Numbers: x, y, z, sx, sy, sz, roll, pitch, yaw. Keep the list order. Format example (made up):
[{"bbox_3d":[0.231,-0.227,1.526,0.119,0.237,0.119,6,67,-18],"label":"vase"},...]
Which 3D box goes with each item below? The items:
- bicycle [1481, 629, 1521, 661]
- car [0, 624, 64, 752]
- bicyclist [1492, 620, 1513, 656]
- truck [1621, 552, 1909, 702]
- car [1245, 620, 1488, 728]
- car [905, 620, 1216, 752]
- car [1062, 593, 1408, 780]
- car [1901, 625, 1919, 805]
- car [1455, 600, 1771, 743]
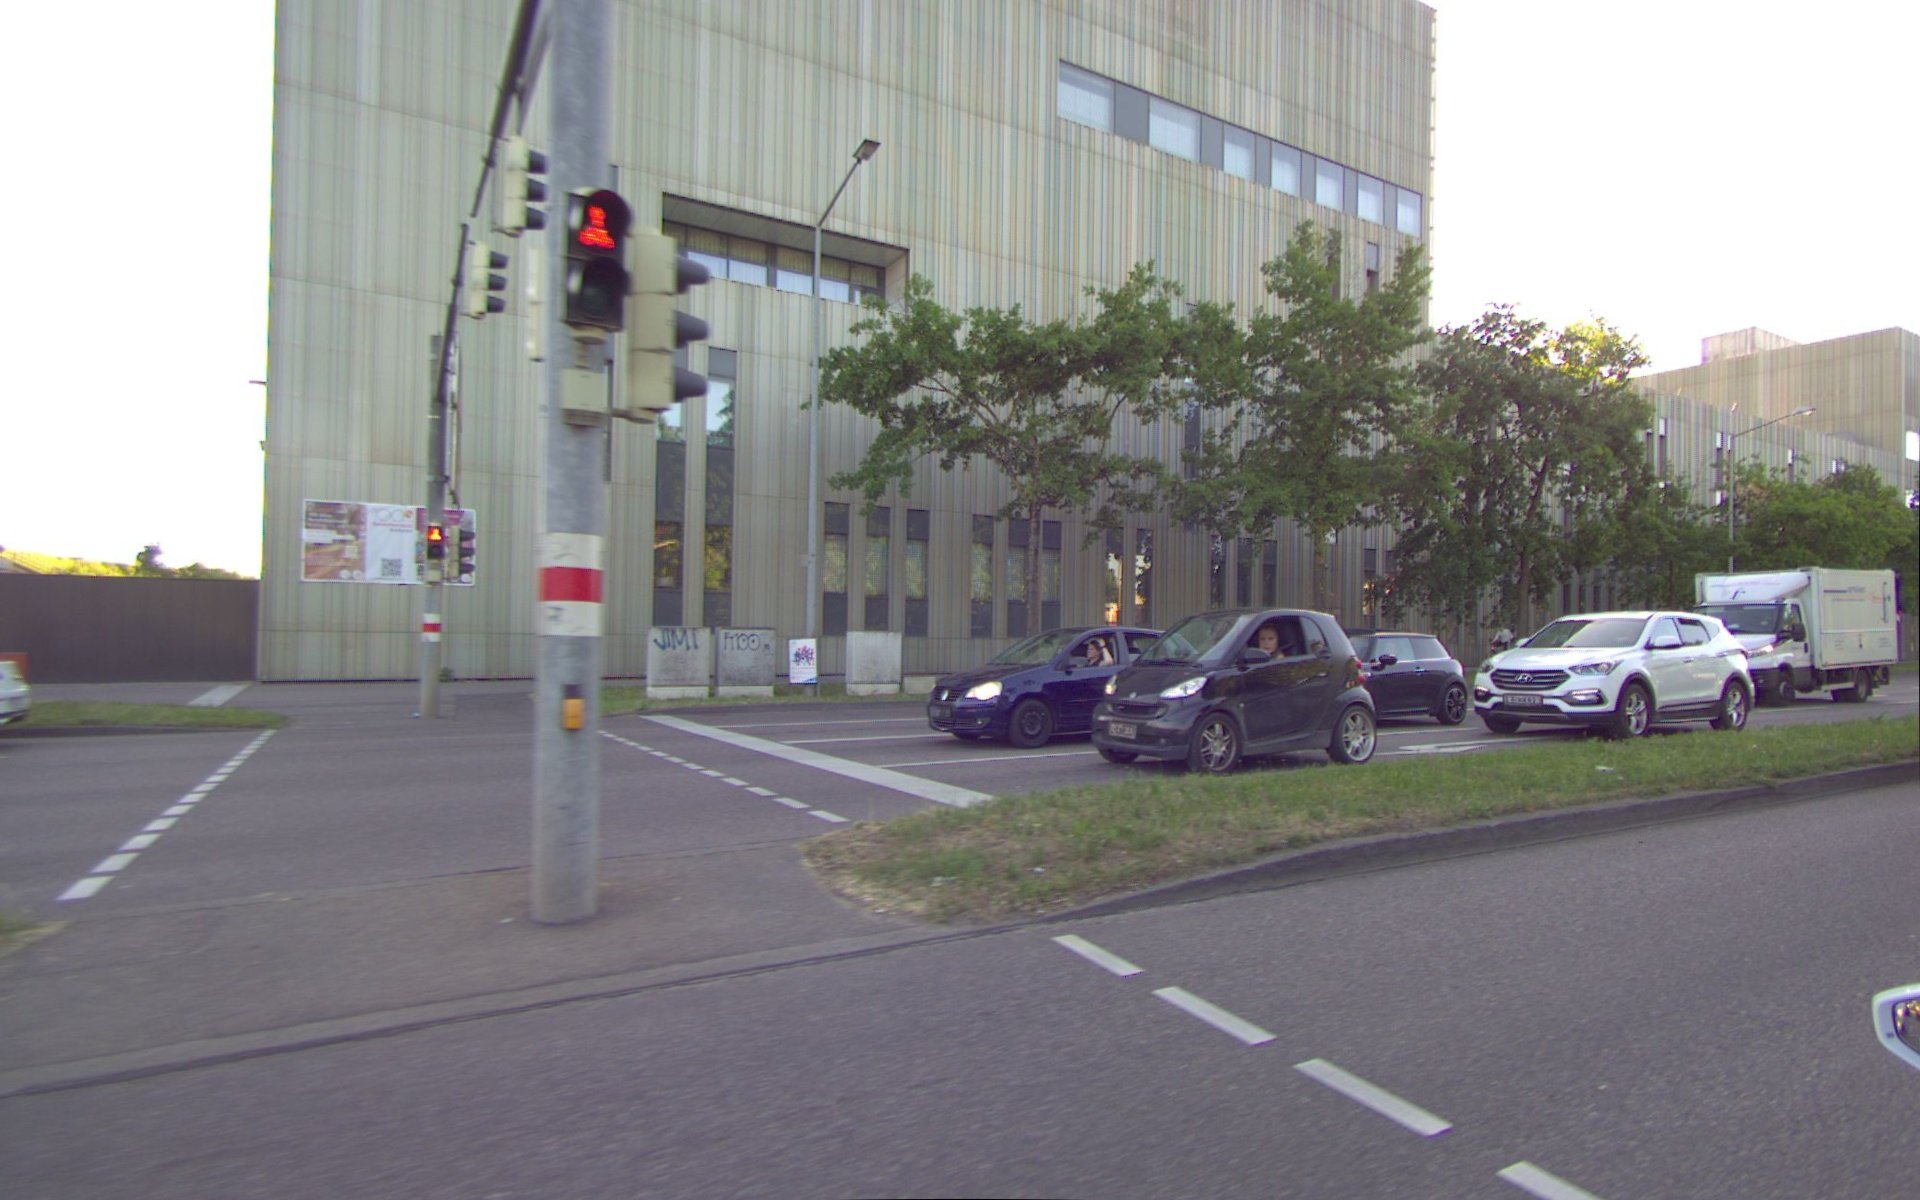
[{"bbox_3d":[22.880,1.899,42.450,2.075,1.287,0.509,1,-1,-31],"label":"bicycle"},{"bbox_3d":[-13.319,0.970,11.076,4.824,1.460,1.695,2,-3,-30],"label":"car"},{"bbox_3d":[22.955,1.604,42.501,0.637,1.527,0.505,1,-1,-31],"label":"bicyclist"},{"bbox_3d":[18.420,0.690,22.888,7.029,2.999,2.675,2,-3,-30],"label":"truck"},{"bbox_3d":[6.296,1.097,15.514,3.596,1.488,1.613,1,-3,-30],"label":"car"},{"bbox_3d":[1.319,1.023,12.825,3.711,1.460,1.694,1,-2,-32],"label":"car"},{"bbox_3d":[2.785,0.813,10.127,3.174,1.601,1.595,2,-3,-29],"label":"car"},{"bbox_3d":[10.071,1.012,8.586,4.113,1.476,1.832,2,0,-30],"label":"car"},{"bbox_3d":[9.132,0.961,13.966,4.604,1.704,1.816,2,-3,-30],"label":"car"}]
